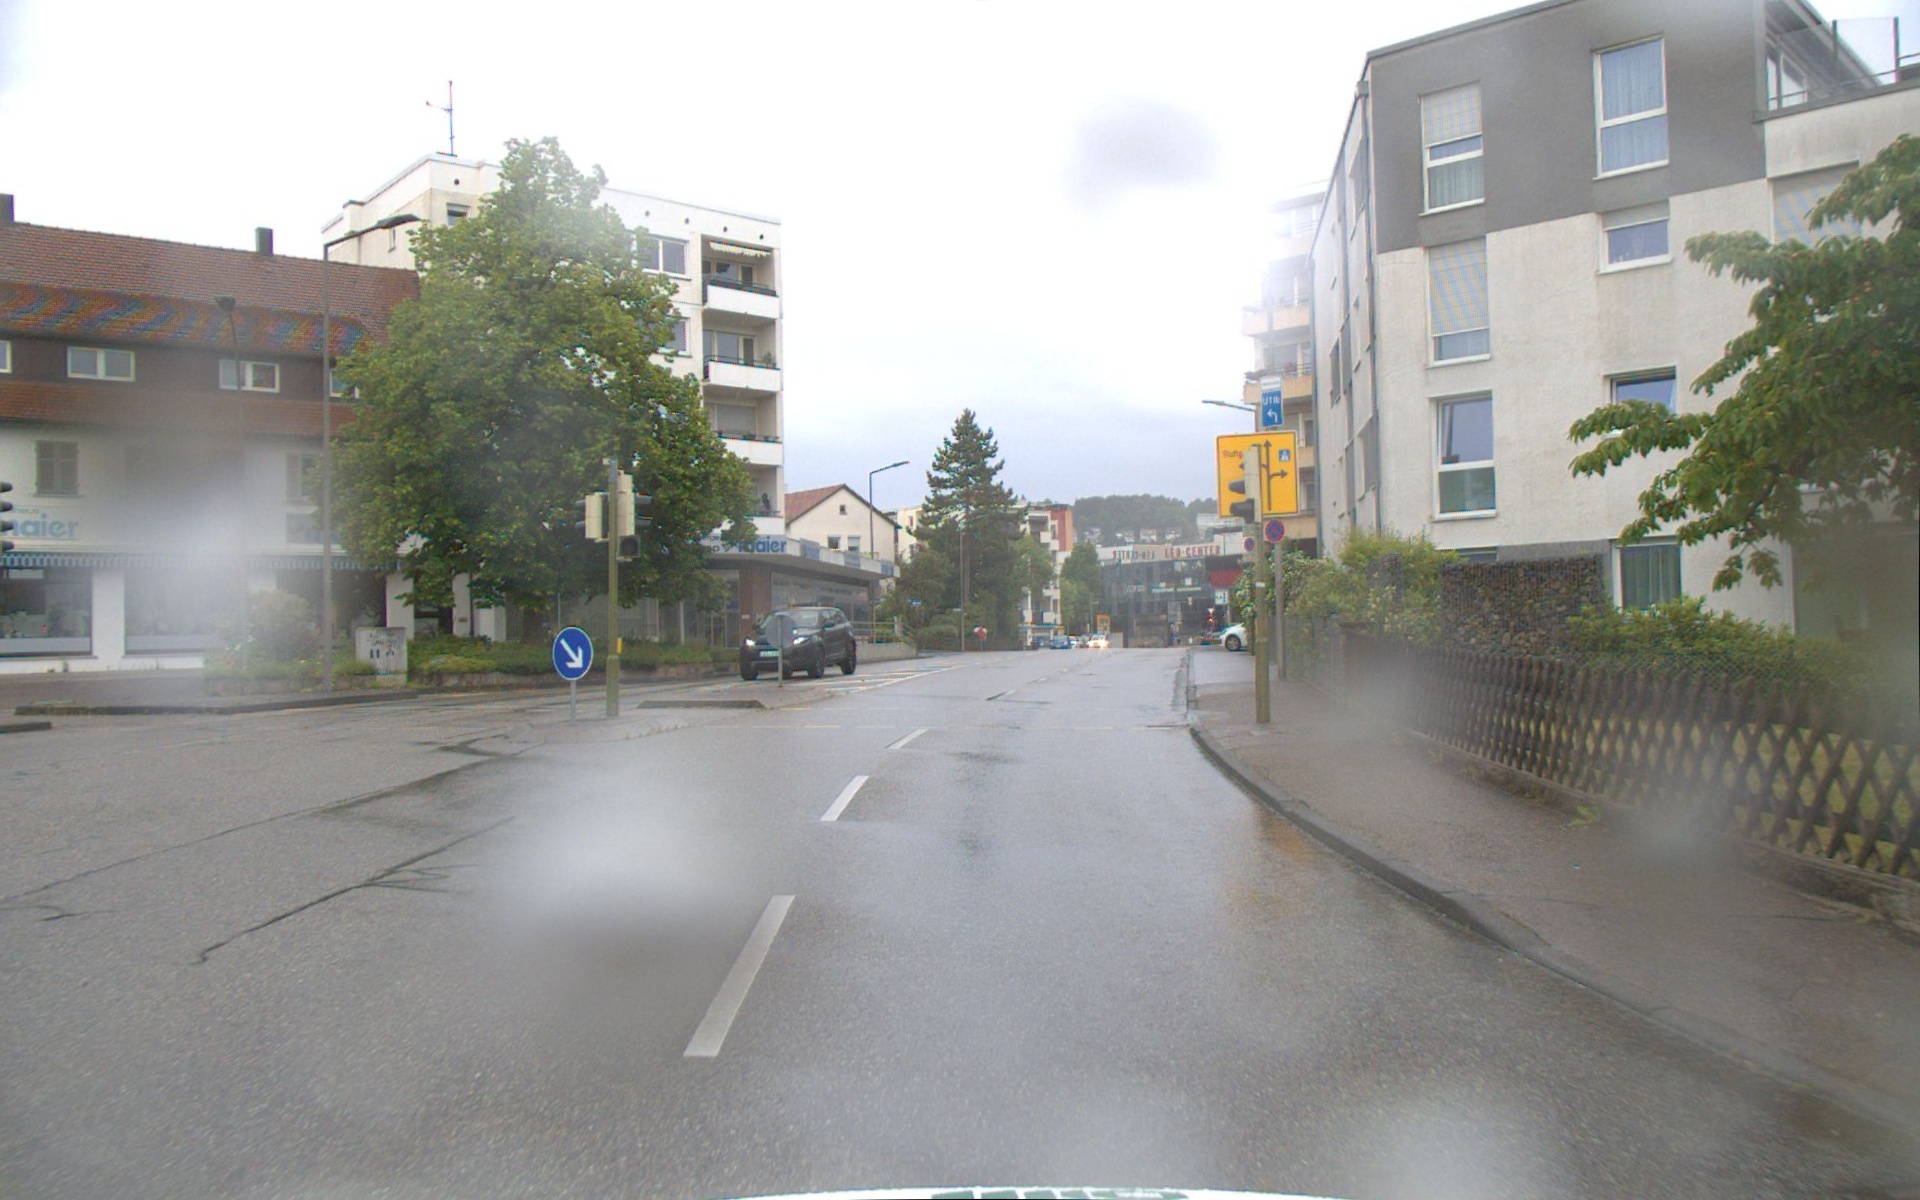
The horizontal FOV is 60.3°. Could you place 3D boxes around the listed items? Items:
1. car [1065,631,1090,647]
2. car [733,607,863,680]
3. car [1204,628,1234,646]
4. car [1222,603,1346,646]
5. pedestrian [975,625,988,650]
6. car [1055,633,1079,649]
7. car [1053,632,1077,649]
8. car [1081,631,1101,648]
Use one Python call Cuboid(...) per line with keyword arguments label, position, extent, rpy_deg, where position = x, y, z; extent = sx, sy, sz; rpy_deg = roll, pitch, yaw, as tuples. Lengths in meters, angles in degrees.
Cuboid(label="car", position=(11.793, 3.915, 166.010), extent=(1.893, 1.569, 4.524), rpy_deg=(-1, -2, 11))
Cuboid(label="car", position=(-3.733, 0.976, 38.893), extent=(1.764, 1.584, 4.322), rpy_deg=(-1, 0, 12))
Cuboid(label="car", position=(24.541, 3.478, 156.587), extent=(1.952, 1.561, 4.647), rpy_deg=(-1, -3, 20))
Cuboid(label="car", position=(12.252, 0.947, 62.659), extent=(4.187, 1.520, 1.865), rpy_deg=(-1, 0, 37))
Cuboid(label="pedestrian", position=(1.436, 2.530, 110.889), extent=(0.851, 1.635, 1.103), rpy_deg=(-1, -2, 2))
Cuboid(label="car", position=(10.393, 3.960, 160.711), extent=(1.657, 1.490, 4.687), rpy_deg=(-1, -2, 11))
Cuboid(label="car", position=(9.850, 3.782, 154.996), extent=(1.616, 1.548, 4.327), rpy_deg=(-1, -2, 11))
Cuboid(label="car", position=(12.633, 3.800, 159.086), extent=(1.662, 1.433, 4.003), rpy_deg=(-4, -1, 6))
